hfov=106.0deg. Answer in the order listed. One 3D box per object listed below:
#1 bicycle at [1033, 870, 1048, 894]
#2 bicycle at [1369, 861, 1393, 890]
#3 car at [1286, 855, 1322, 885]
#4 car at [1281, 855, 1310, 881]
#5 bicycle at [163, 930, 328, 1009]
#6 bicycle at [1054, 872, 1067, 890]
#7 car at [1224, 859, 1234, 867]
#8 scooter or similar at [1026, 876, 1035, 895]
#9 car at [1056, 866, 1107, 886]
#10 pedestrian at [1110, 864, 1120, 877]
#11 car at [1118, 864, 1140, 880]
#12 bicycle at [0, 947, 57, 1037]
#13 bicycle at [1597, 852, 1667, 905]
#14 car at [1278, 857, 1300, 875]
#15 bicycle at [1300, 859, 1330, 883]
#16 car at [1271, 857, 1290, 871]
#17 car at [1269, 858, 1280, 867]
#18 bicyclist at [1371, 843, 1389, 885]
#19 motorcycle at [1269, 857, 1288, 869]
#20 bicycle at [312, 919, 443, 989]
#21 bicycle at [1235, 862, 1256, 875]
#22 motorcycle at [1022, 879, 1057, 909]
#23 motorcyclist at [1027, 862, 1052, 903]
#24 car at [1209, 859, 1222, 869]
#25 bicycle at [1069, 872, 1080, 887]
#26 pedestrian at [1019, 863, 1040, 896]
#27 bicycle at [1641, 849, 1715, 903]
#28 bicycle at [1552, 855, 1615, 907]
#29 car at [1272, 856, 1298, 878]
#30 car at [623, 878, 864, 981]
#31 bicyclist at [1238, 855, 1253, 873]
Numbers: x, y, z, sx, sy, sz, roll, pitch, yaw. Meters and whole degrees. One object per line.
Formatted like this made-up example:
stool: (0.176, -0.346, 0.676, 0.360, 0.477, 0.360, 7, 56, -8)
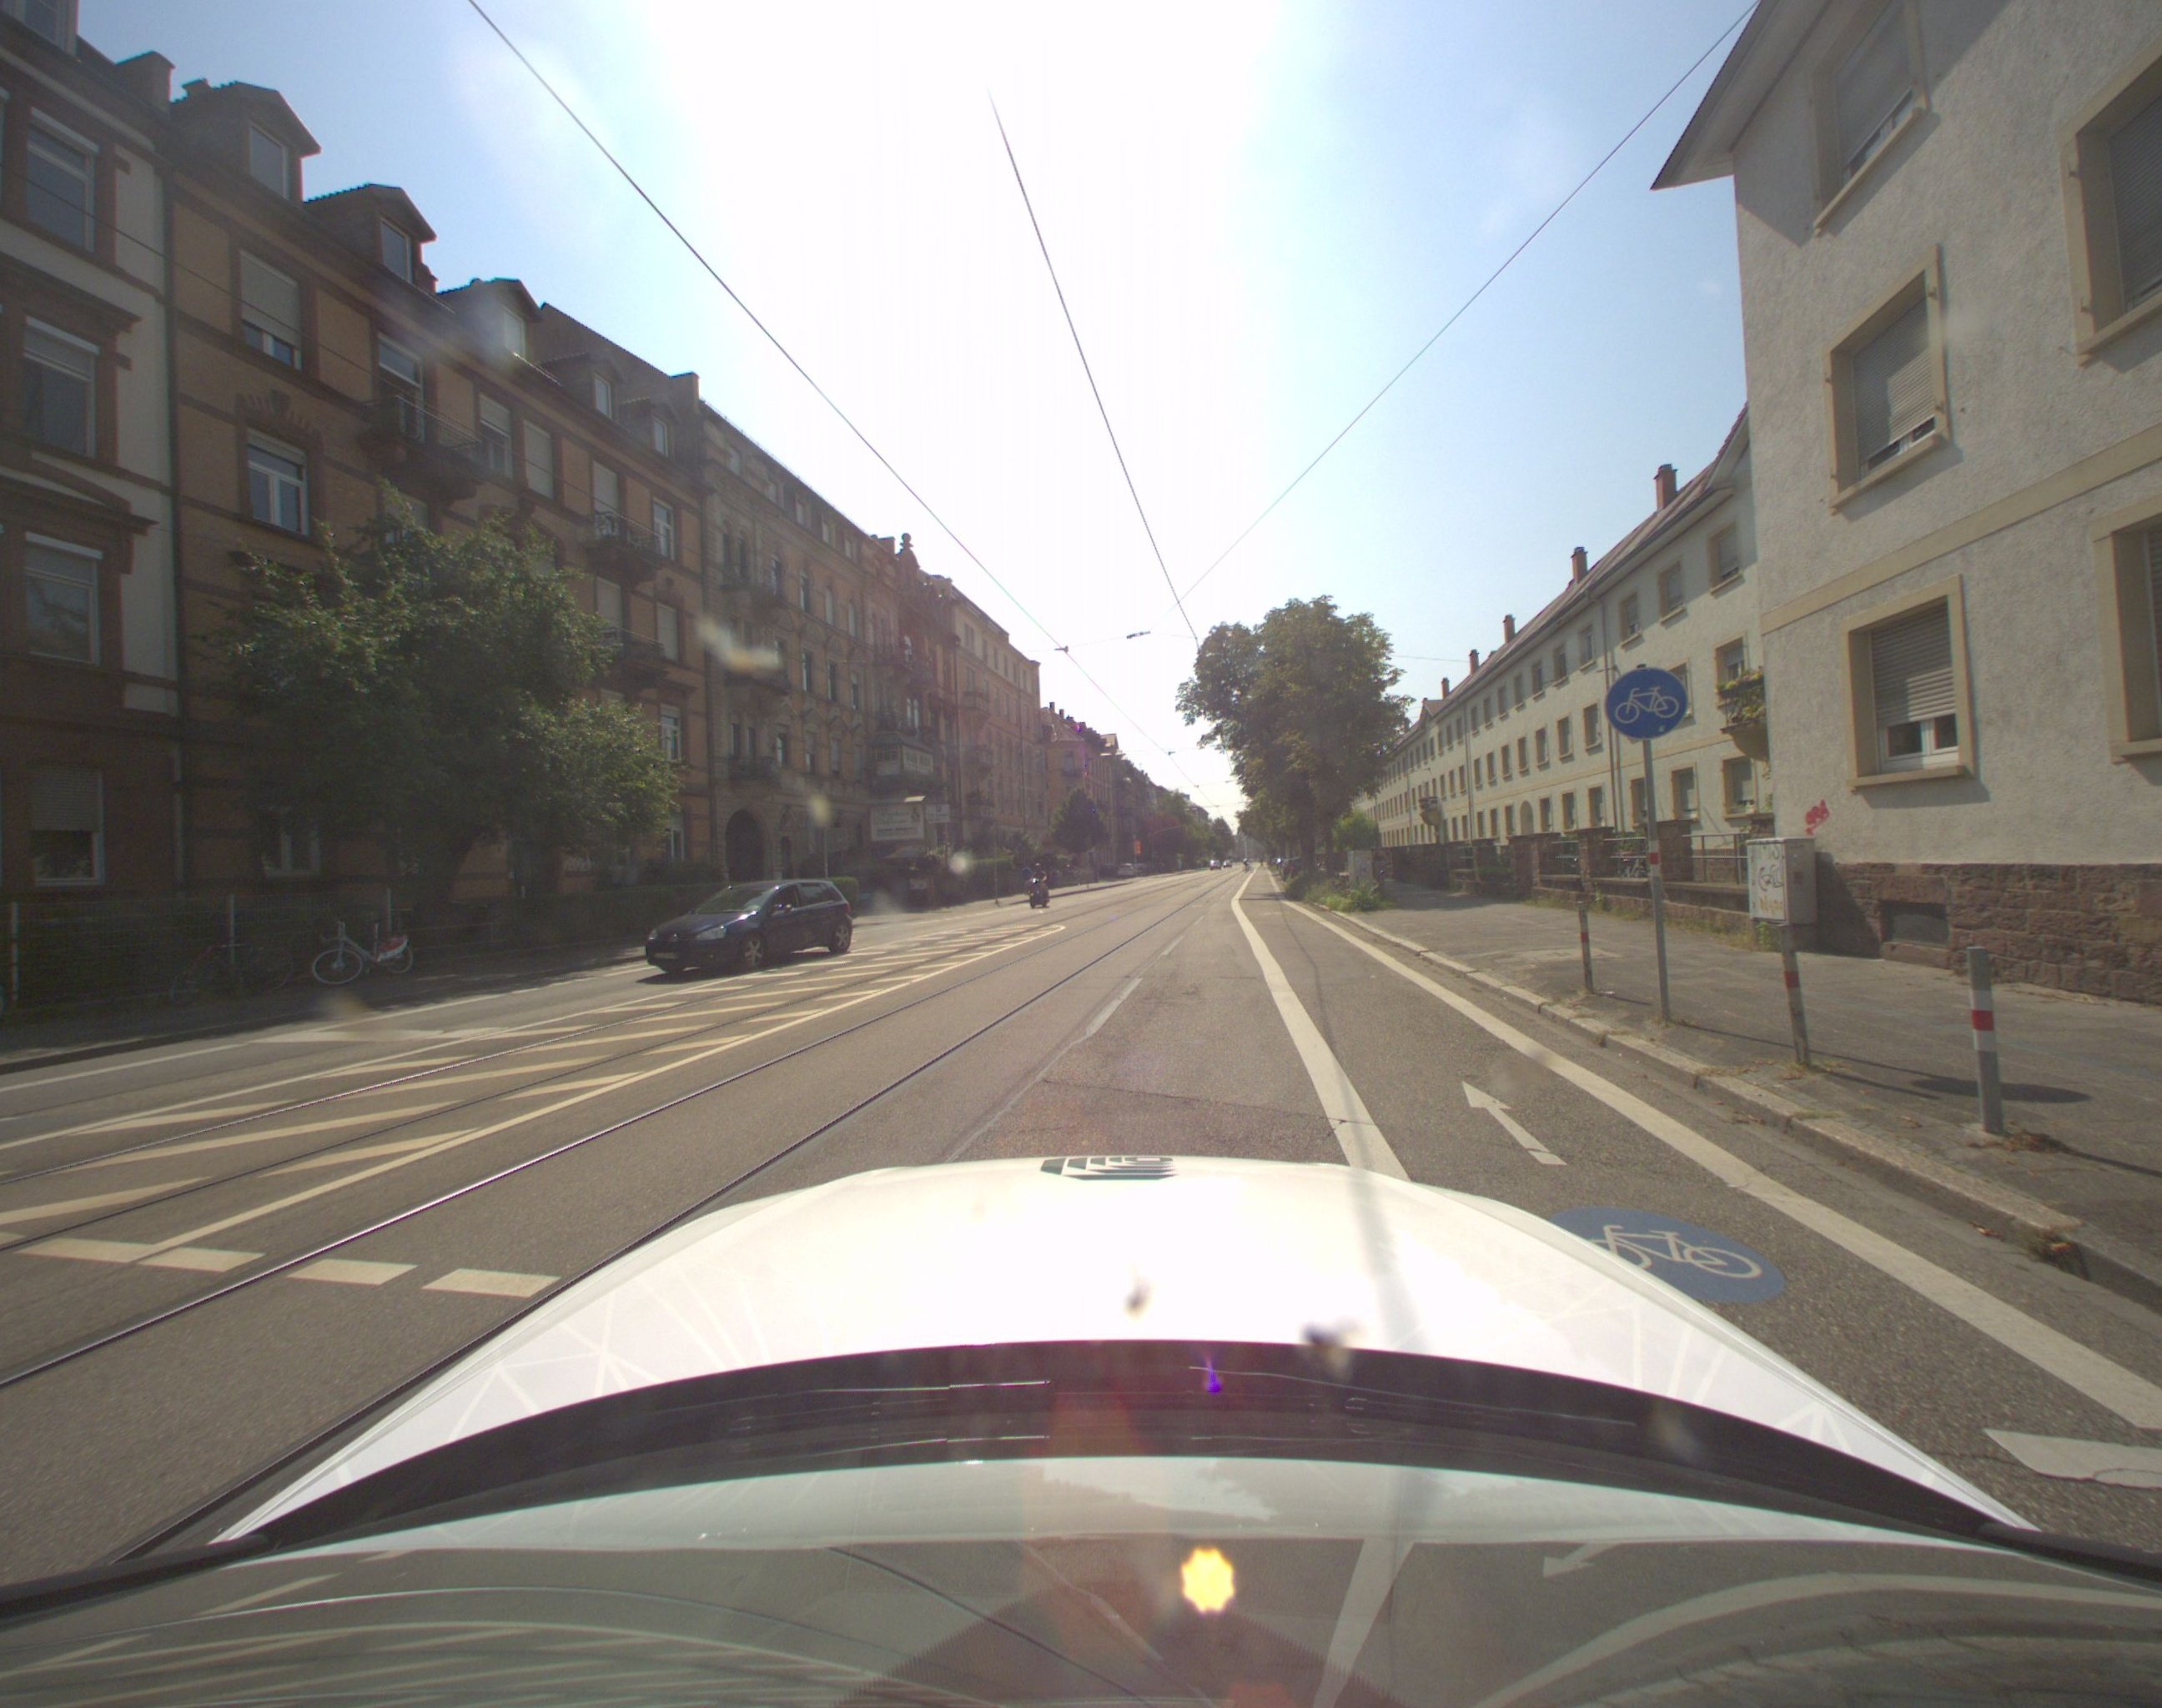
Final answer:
bicycle: (-2.467, 1.716, 49.843, 0.387, 1.406, 1.587, -3, -1, 14)
bicycle: (11.140, 0.790, 30.264, 0.437, 1.047, 1.834, -3, -1, 9)
car: (12.621, 0.886, 45.911, 1.603, 1.530, 3.516, -4, -2, 19)
car: (14.094, 0.899, 53.599, 1.606, 1.477, 4.053, -5, -1, 13)
bicycle: (-12.380, 1.691, 12.134, 0.483, 0.942, 1.664, -3, -1, 16)
bicycle: (-1.379, 1.791, 54.427, 0.387, 1.148, 1.587, -3, -1, 14)
car: (30.400, 1.887, 167.552, 1.720, 1.490, 4.013, -4, -1, 12)
scooter or similar: (-2.776, 1.716, 44.534, 0.398, 0.982, 0.585, -2, -1, 5)
car: (0.048, 1.911, 71.674, 4.072, 1.594, 1.886, -2, -1, 14)
pedestrian: (4.168, 2.036, 99.844, 0.886, 1.511, 0.864, -2, -1, -18)
car: (5.448, 2.037, 92.587, 1.982, 1.594, 4.370, -3, -1, 9)
bicycle: (-13.264, 1.686, 9.365, 0.483, 1.021, 1.785, -3, -1, 16)
bicycle: (11.557, 0.499, 17.134, 0.437, 1.047, 1.834, -3, -1, 9)
car: (18.994, 1.099, 74.511, 1.744, 1.477, 4.400, -3, -1, 12)
bicycle: (11.509, 0.840, 40.054, 1.394, 1.108, 0.386, -3, -1, -23)
car: (22.513, 1.140, 91.947, 1.879, 1.477, 4.856, -3, -1, 12)
car: (34.171, 1.473, 143.933, 1.828, 1.532, 4.795, -5, -2, 12)
bicyclist: (11.126, 0.374, 30.313, 0.434, 1.512, 0.473, -3, -1, 9)
motorcycle: (27.905, 1.257, 115.038, 0.973, 1.540, 2.320, -1, -4, -36)
bicycle: (-11.843, 1.660, 13.781, 0.483, 0.986, 1.664, -3, -1, 16)
bicycle: (18.050, 1.610, 89.072, 1.136, 1.269, 2.729, -4, -2, 36)
motorcycle: (-1.572, 1.509, 30.992, 0.686, 1.031, 2.165, -3, -1, 14)
motorcyclist: (-1.569, 1.063, 31.059, 0.684, 1.511, 0.775, -3, -1, 13)
car: (21.937, 1.654, 132.933, 1.815, 1.540, 4.013, -4, -1, 12)
bicycle: (-0.473, 1.900, 60.098, 0.387, 1.038, 1.840, -3, -1, 14)
pedestrian: (-2.849, 1.408, 45.126, 0.877, 1.756, 0.873, -3, -1, 12)
bicycle: (12.565, 0.454, 17.203, 0.437, 1.047, 1.834, -3, -1, 9)
bicycle: (10.747, 0.556, 17.470, 0.437, 1.047, 1.834, -3, -1, 9)
car: (15.970, 1.003, 64.056, 1.743, 1.477, 4.473, -7, -2, 13)
car: (-5.813, 1.251, 14.672, 1.714, 1.433, 4.194, -3, -1, 16)
bicyclist: (17.990, 1.095, 89.061, 1.114, 1.837, 0.962, -4, -2, 35)
